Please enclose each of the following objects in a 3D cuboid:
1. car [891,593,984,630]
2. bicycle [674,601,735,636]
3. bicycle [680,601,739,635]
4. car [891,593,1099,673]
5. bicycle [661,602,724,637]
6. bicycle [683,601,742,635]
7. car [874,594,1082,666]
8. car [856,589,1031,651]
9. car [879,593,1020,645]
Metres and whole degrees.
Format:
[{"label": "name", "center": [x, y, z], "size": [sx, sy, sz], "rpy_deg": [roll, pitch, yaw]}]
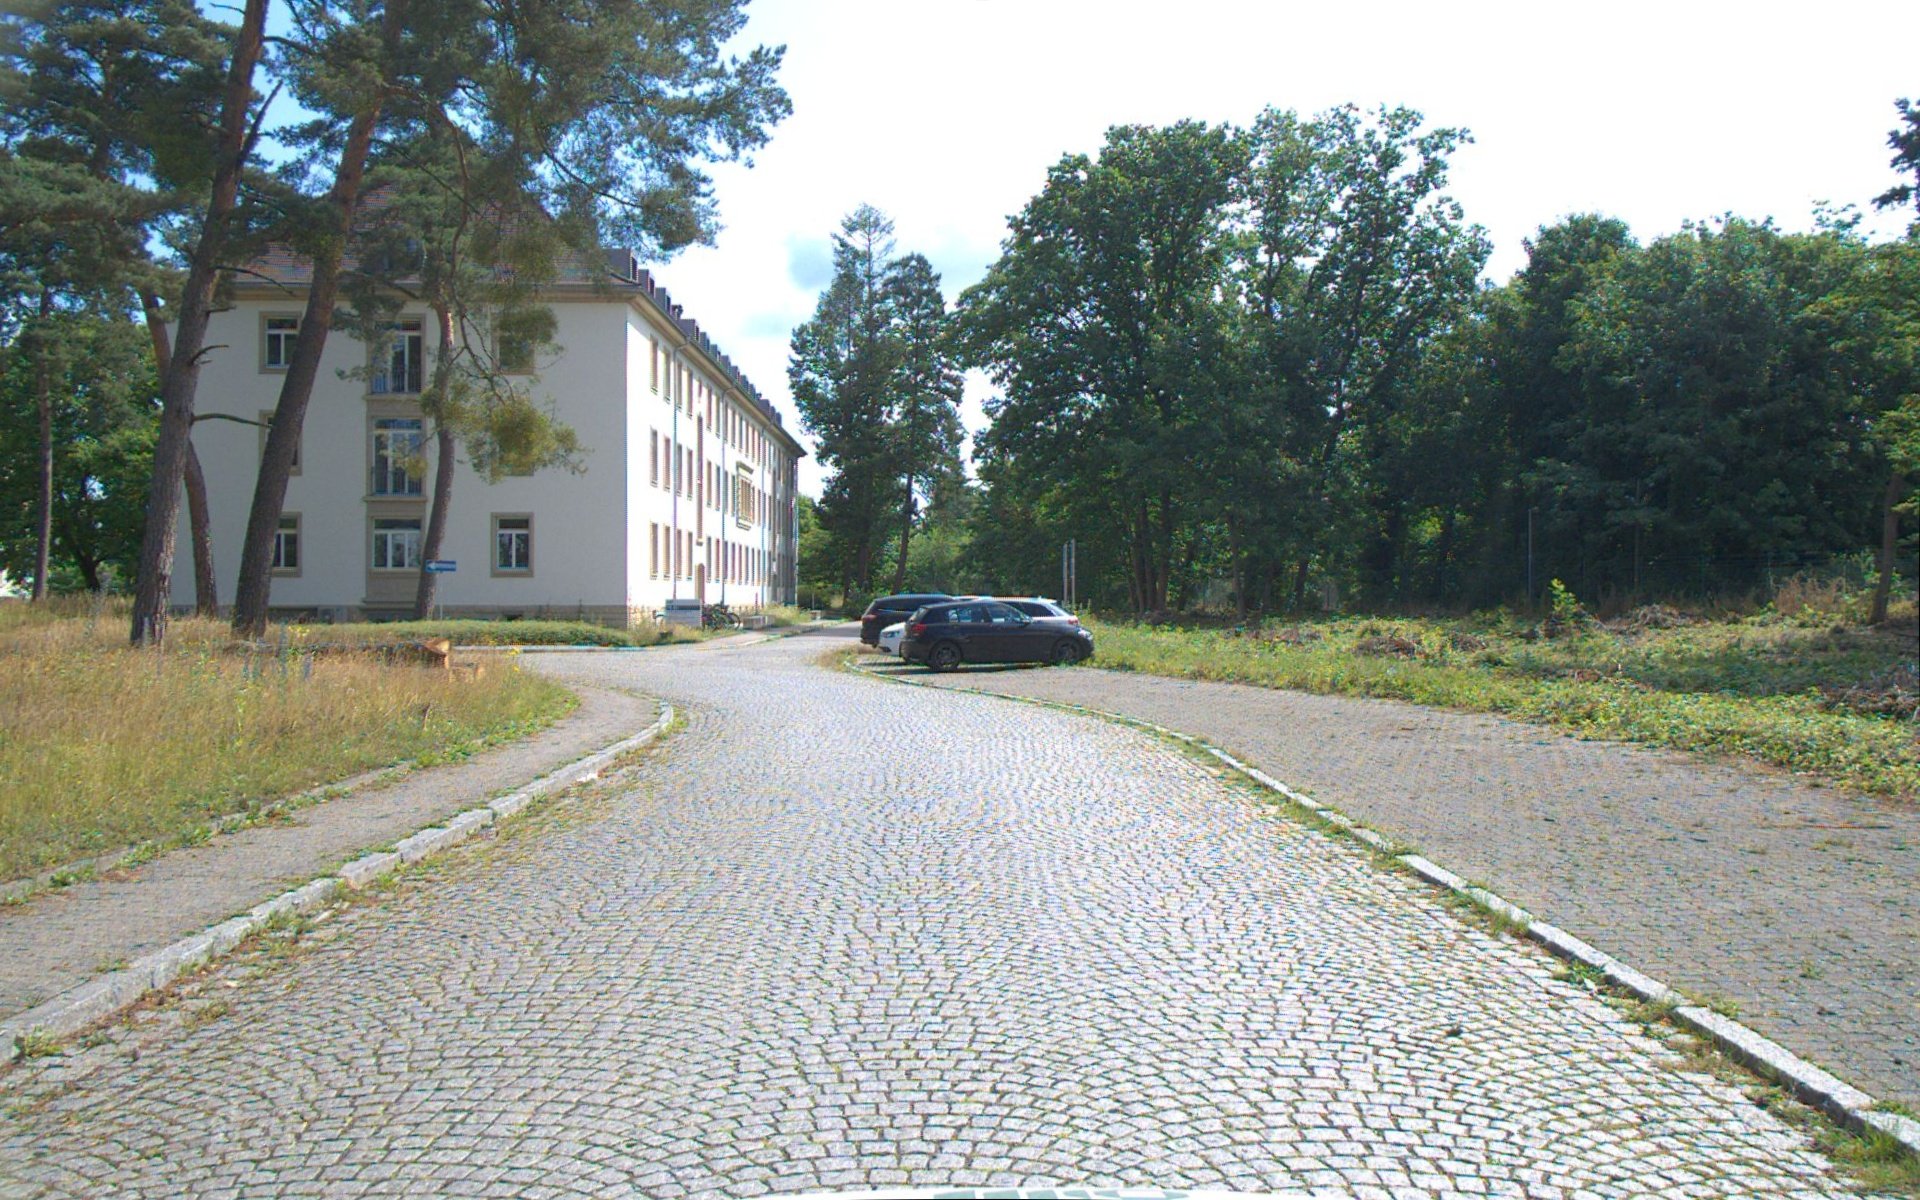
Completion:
[{"label": "car", "center": [-0.975, 0.520, 74.492], "size": [4.101, 1.570, 1.820], "rpy_deg": [-2, -1, 1]}, {"label": "bicycle", "center": [-9.624, 0.705, 62.305], "size": [2.175, 1.282, 0.623], "rpy_deg": [0, 0, 5]}, {"label": "bicycle", "center": [-9.574, 0.690, 63.246], "size": [2.176, 1.282, 0.623], "rpy_deg": [0, 0, 1]}, {"label": "car", "center": [0.715, 0.688, 35.866], "size": [4.245, 1.526, 1.826], "rpy_deg": [-2, 1, -9]}, {"label": "bicycle", "center": [-9.806, 0.707, 60.562], "size": [2.175, 1.282, 0.623], "rpy_deg": [0, 0, 5]}, {"label": "bicycle", "center": [-9.606, 0.691, 64.254], "size": [2.176, 1.282, 0.623], "rpy_deg": [0, 0, 1]}, {"label": "car", "center": [0.387, 0.680, 39.036], "size": [4.764, 1.498, 1.874], "rpy_deg": [-1, 1, -3]}, {"label": "car", "center": [-0.479, 0.553, 46.372], "size": [4.755, 1.580, 1.879], "rpy_deg": [-1, -1, -3]}, {"label": "car", "center": [-0.350, 0.591, 51.688], "size": [4.310, 1.510, 1.765], "rpy_deg": [-1, -1, -3]}]
